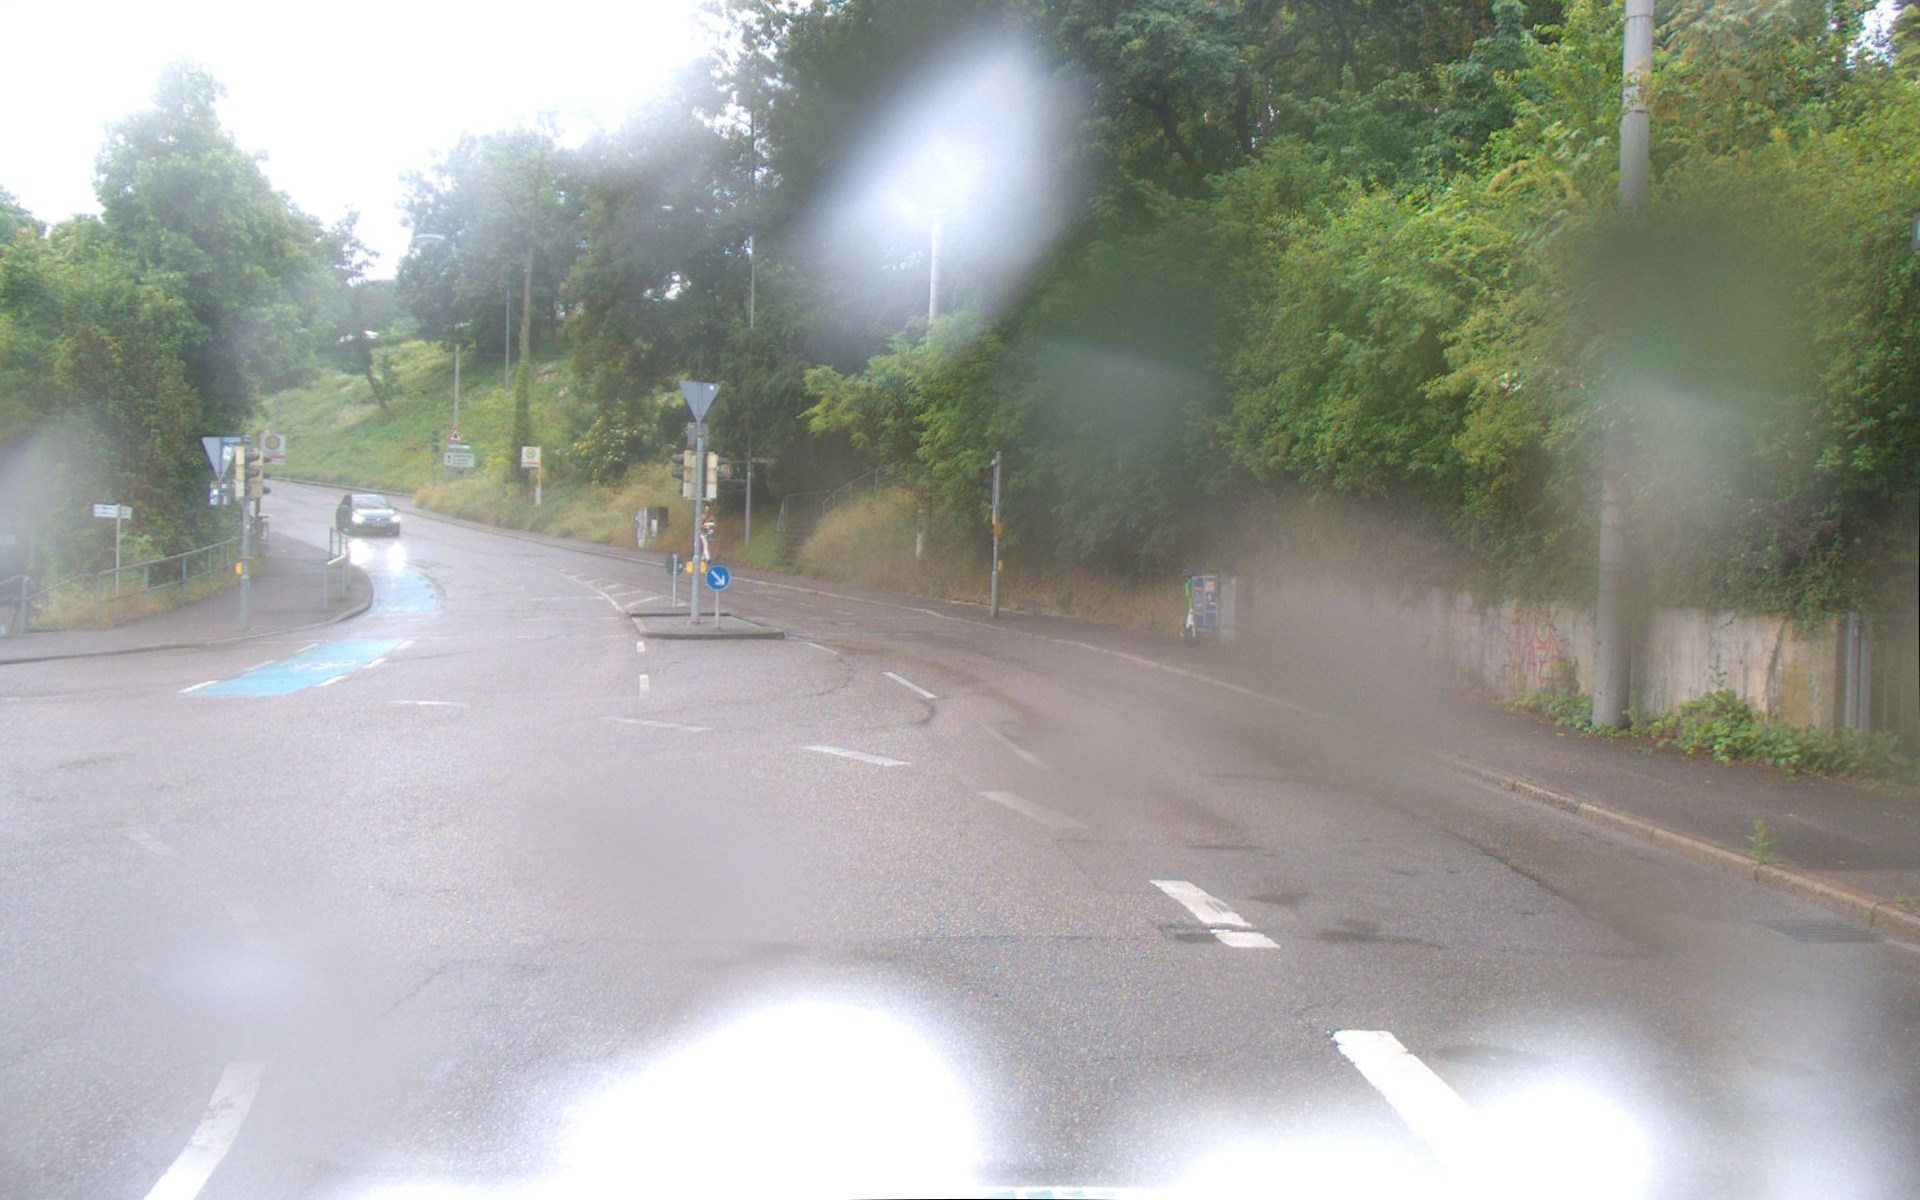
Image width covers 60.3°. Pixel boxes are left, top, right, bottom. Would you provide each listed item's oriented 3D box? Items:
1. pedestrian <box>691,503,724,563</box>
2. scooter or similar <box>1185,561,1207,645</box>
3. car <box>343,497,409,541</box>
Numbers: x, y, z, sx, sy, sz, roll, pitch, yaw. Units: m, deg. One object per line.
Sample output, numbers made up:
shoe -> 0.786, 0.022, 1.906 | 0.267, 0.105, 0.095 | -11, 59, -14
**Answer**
pedestrian -> -7.706, -2.033, 50.490 | 0.867, 1.767, 0.861 | 1, -1, -18
scooter or similar -> 3.781, 0.034, 26.526 | 0.315, 1.302, 0.752 | 0, 3, 7
car -> -22.066, -3.083, 62.391 | 1.931, 1.538, 4.371 | 1, 3, -25
